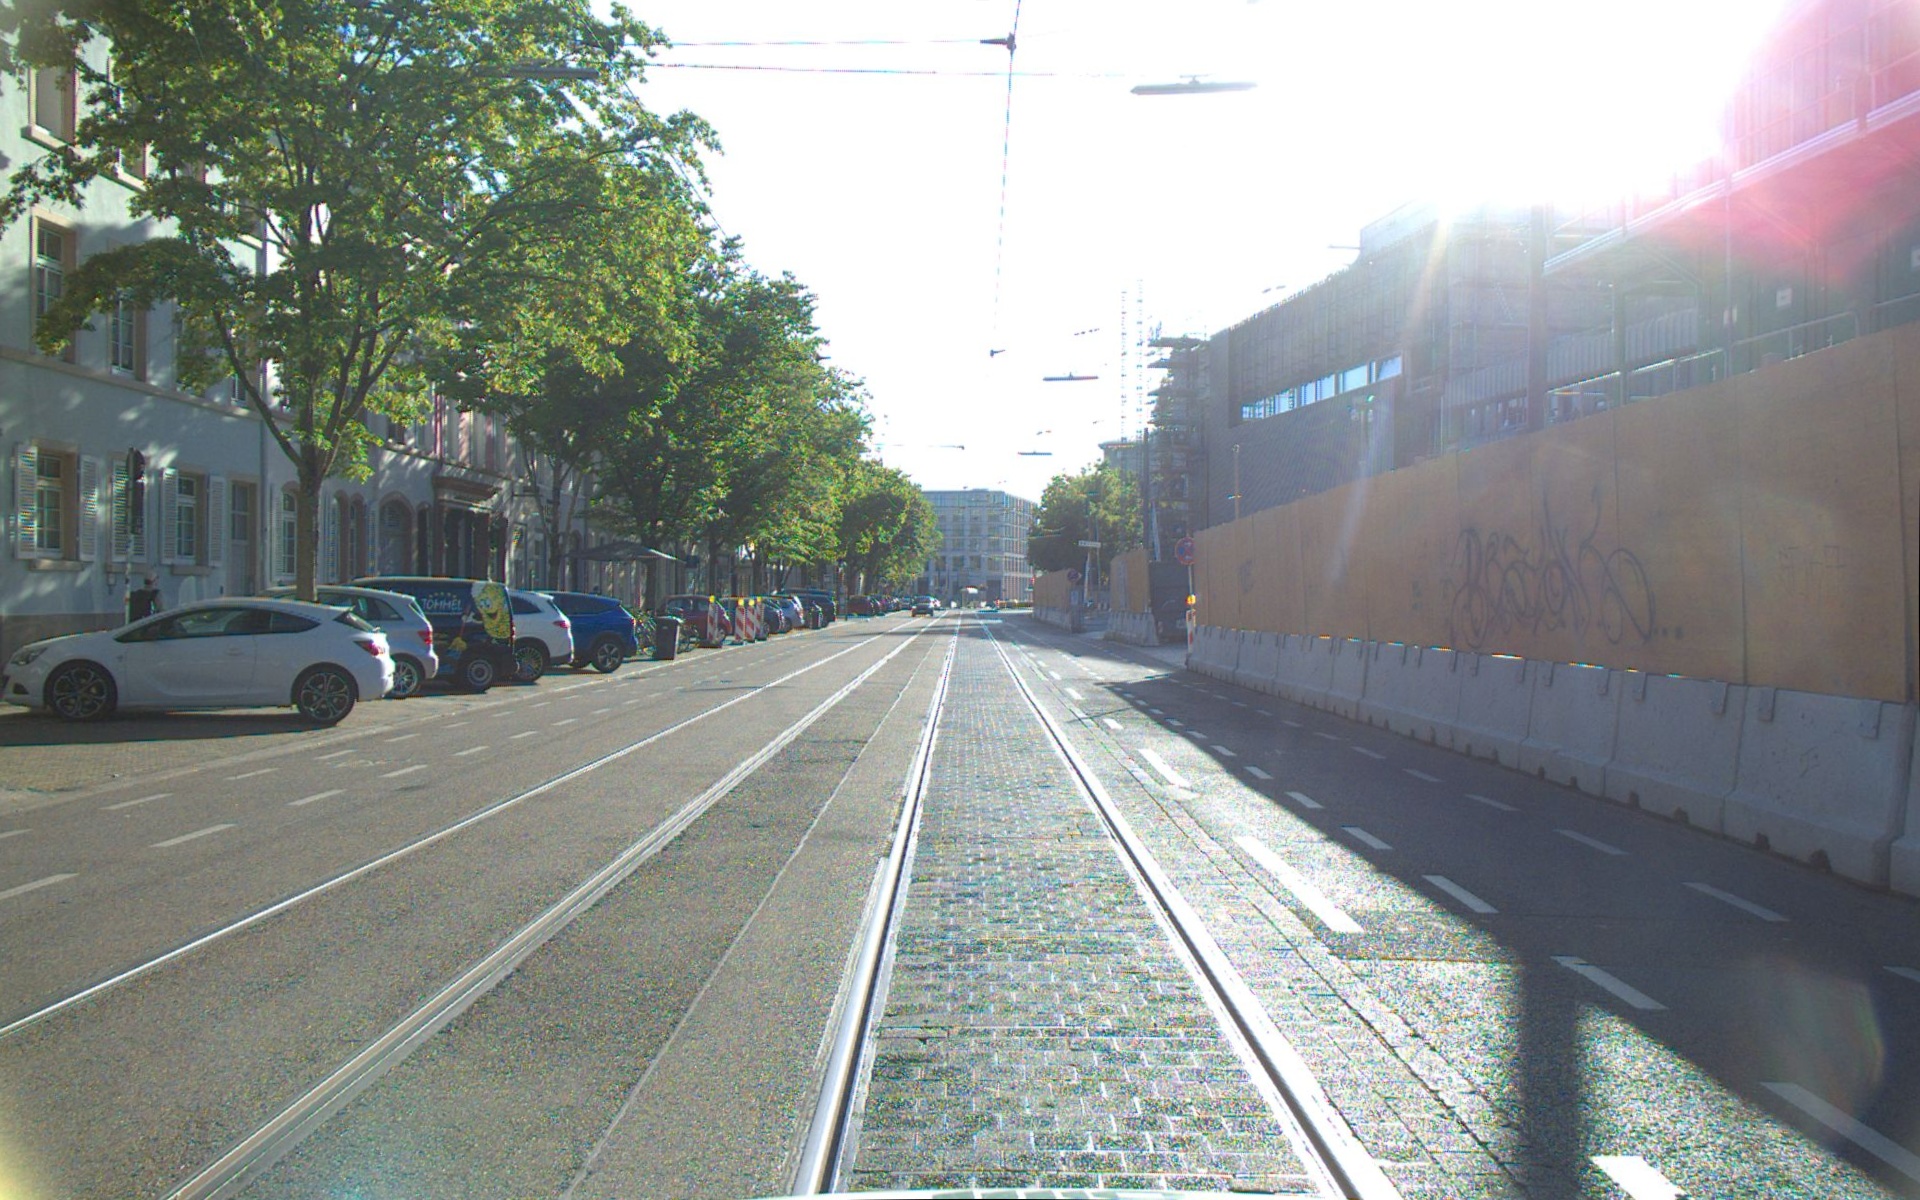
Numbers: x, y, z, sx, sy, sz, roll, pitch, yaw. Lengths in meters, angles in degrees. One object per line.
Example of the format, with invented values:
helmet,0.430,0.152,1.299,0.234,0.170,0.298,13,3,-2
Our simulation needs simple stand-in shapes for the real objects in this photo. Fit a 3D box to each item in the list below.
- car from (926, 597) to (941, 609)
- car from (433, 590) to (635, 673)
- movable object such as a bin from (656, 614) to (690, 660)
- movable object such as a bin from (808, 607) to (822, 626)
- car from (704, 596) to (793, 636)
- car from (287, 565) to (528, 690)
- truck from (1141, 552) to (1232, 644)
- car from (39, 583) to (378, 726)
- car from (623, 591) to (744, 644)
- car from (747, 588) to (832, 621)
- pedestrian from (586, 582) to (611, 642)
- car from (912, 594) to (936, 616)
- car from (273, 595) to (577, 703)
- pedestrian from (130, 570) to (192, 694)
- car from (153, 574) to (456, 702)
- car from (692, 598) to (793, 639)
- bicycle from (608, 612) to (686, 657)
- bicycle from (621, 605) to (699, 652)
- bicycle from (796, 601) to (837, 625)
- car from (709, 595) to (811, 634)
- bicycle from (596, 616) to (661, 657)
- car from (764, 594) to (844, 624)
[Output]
car,-3.189,0.331,196.488,1.675,1.461,4.169,0,0,-3
car,-8.996,0.623,35.053,3.860,1.637,1.553,-1,0,-37
movable object such as a bin,-7.221,0.932,41.670,0.669,1.096,0.710,3,0,1
movable object such as a bin,-7.185,0.804,81.692,0.566,0.929,0.573,2,0,-16
car,-8.893,0.663,69.455,3.324,1.519,1.598,2,0,-28
car,-9.116,0.496,27.346,3.403,1.875,1.713,3,-3,-33
truck,7.842,-0.057,57.842,2.468,2.959,5.508,-3,0,2
car,-9.143,0.674,20.465,3.582,1.556,1.876,3,-1,-20
car,-9.075,0.586,54.336,3.569,1.580,1.655,2,1,-26
car,-8.954,0.222,86.891,4.174,1.714,1.800,0,0,-21
pedestrian,-12.295,0.398,56.320,0.716,2.049,0.556,0,0,1
car,-3.012,0.422,138.215,1.888,1.657,4.248,-3,1,-1
car,-9.704,0.835,30.148,4.884,1.826,2.182,0,0,-36
pedestrian,-12.241,0.485,25.350,0.630,1.870,0.624,0,0,1
car,-9.768,0.576,24.691,3.944,1.685,1.793,3,0,-30
car,-8.741,0.738,66.603,3.631,1.496,1.737,2,-1,-29
bicycle,-8.311,0.917,43.956,1.927,1.098,0.569,3,0,2
bicycle,-8.214,0.782,45.284,1.961,1.106,0.568,5,0,2
bicycle,-7.149,0.650,82.457,1.935,1.164,0.490,2,-1,-18
car,-8.763,0.639,72.356,4.054,1.539,1.826,2,0,-27
bicycle,-8.465,0.932,42.276,1.570,1.005,0.388,2,0,-11
car,-7.967,0.453,84.380,3.796,1.502,1.834,0,0,-18
